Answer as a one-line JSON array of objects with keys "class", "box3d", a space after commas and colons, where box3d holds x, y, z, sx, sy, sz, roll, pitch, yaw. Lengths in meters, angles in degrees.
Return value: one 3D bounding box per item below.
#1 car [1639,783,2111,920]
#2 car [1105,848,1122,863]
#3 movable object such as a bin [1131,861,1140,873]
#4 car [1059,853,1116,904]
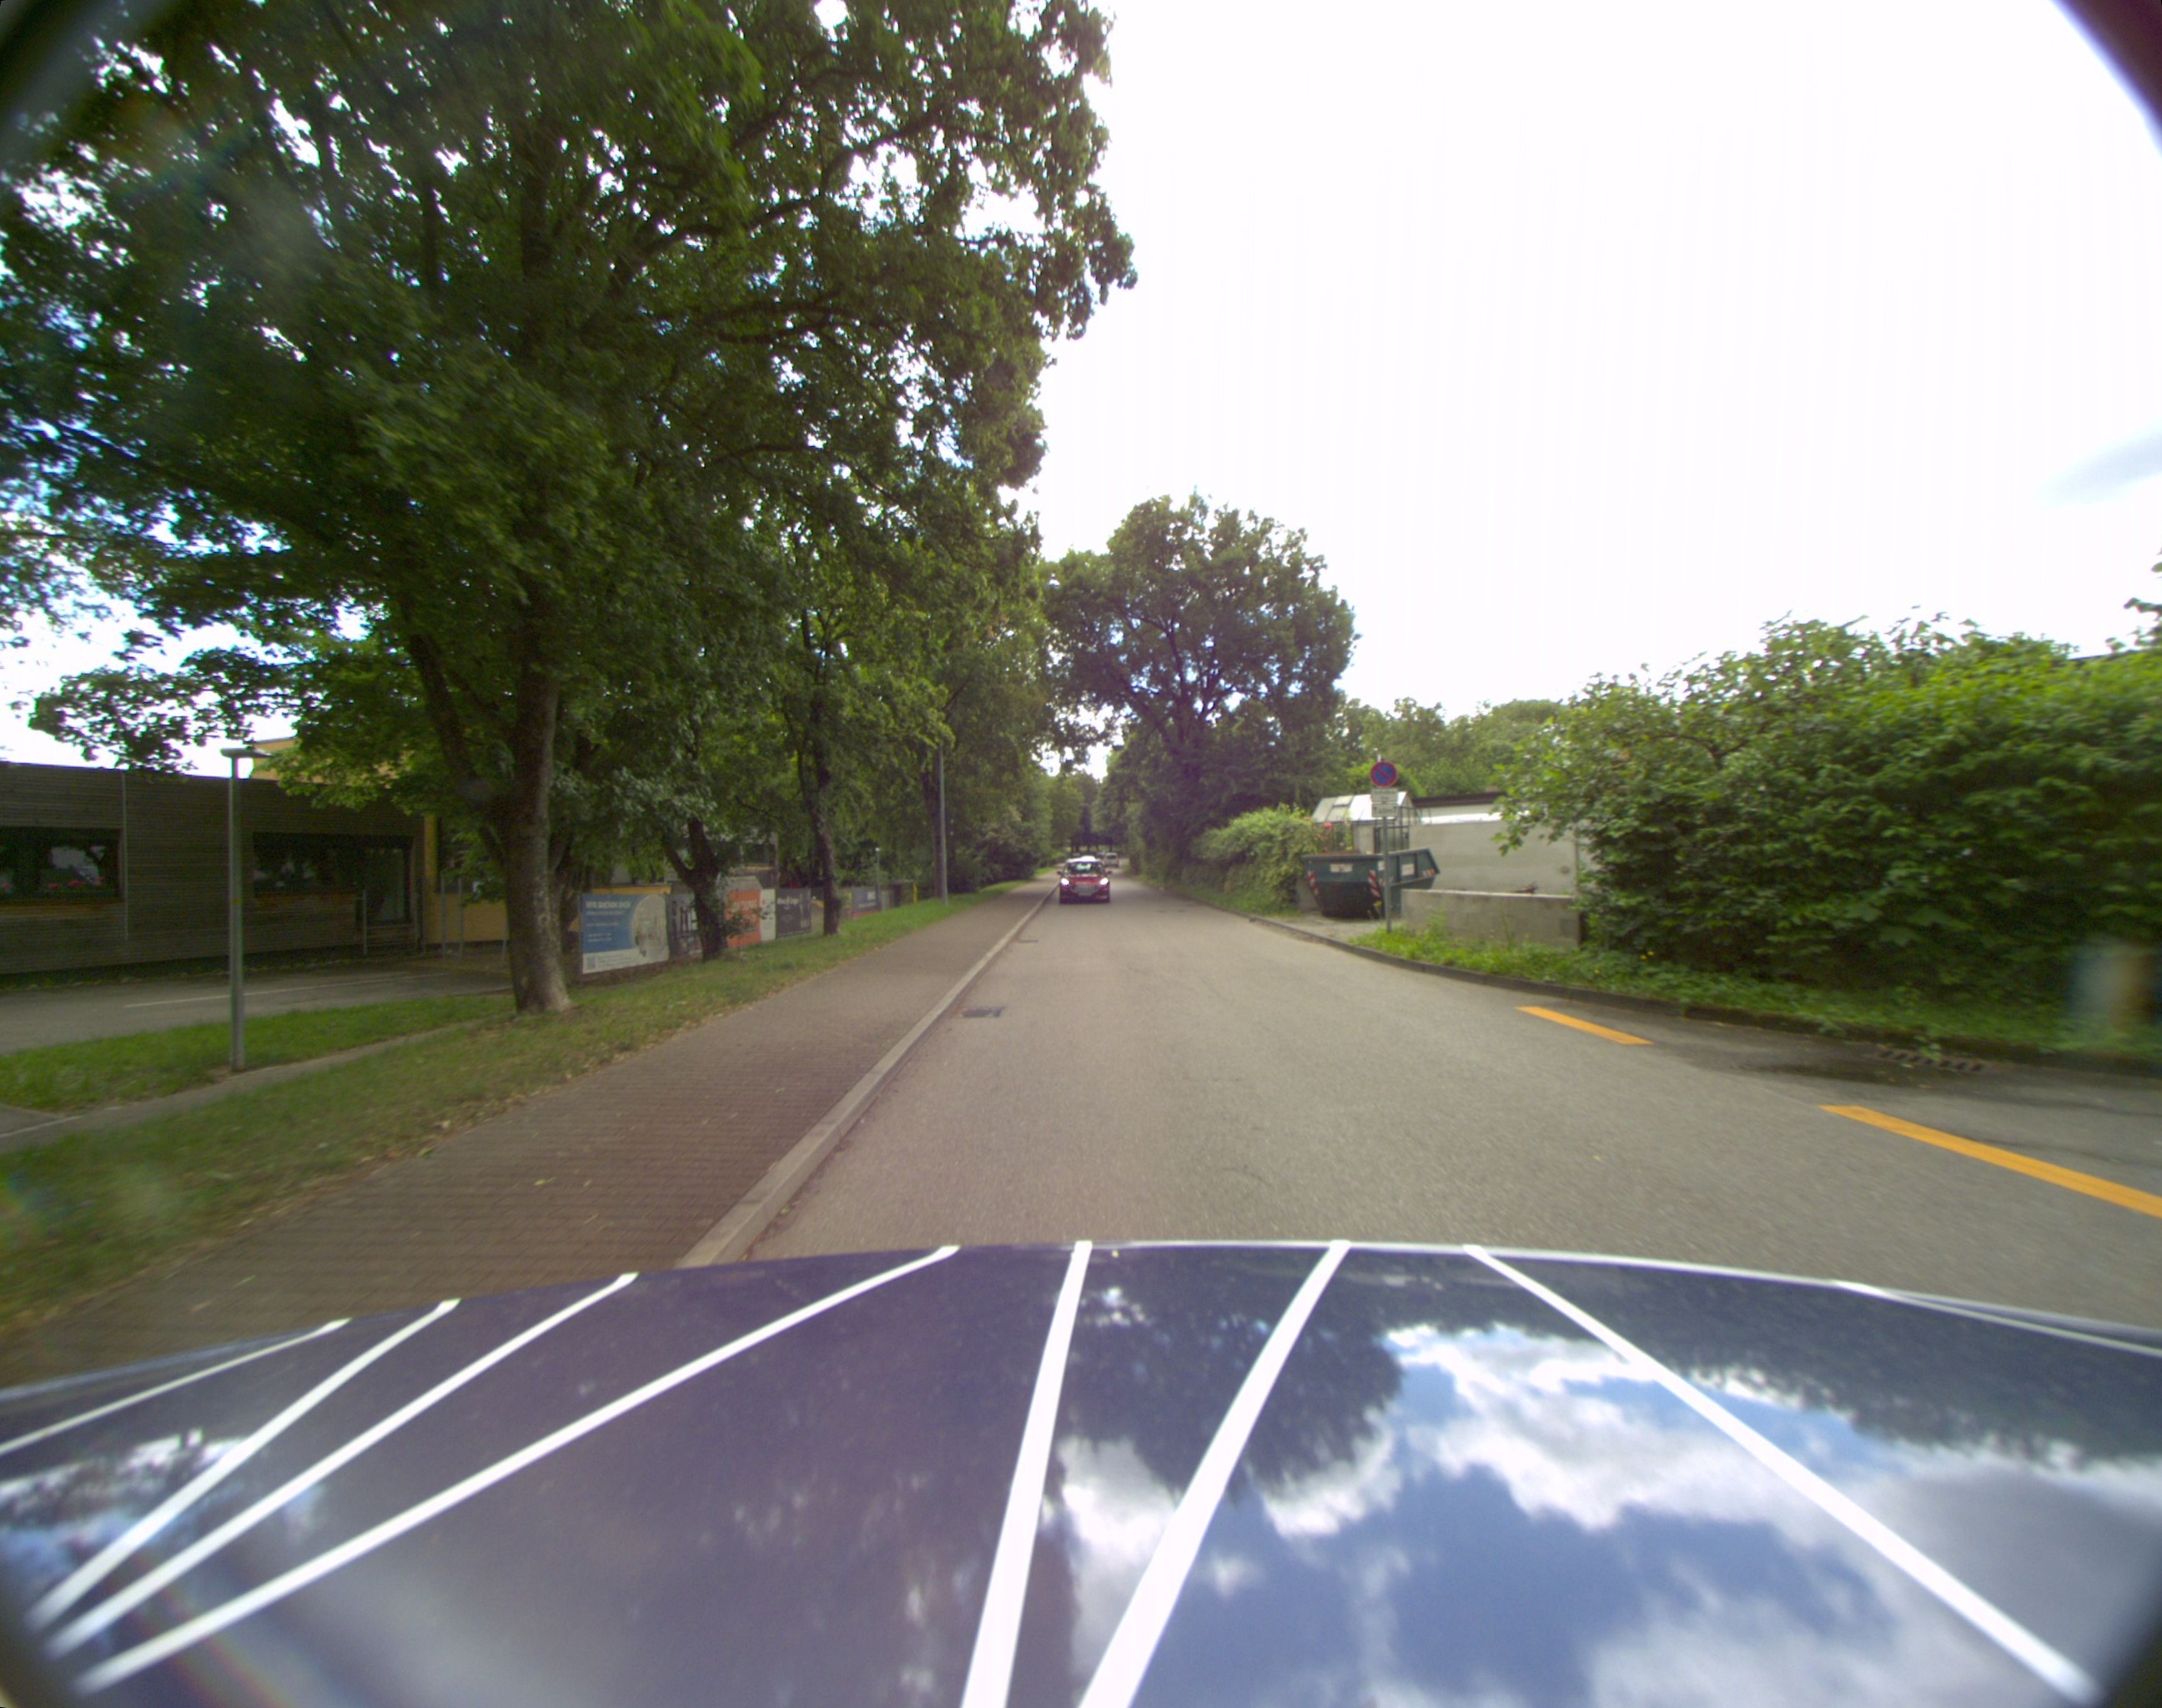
[{"class": "car", "box3d": [12.224, 0.061, 12.309, 4.916, 1.794, 2.034, -3, -1, 41]}, {"class": "car", "box3d": [4.005, 0.169, 94.572, 1.878, 1.902, 4.430, 0, 1, -1]}, {"class": "movable object such as a bin", "box3d": [4.600, 1.072, 63.715, 0.649, 1.007, 0.632, 0, 2, 16]}, {"class": "car", "box3d": [0.321, 0.881, 29.145, 1.816, 1.717, 4.001, 1, 1, 5]}]
